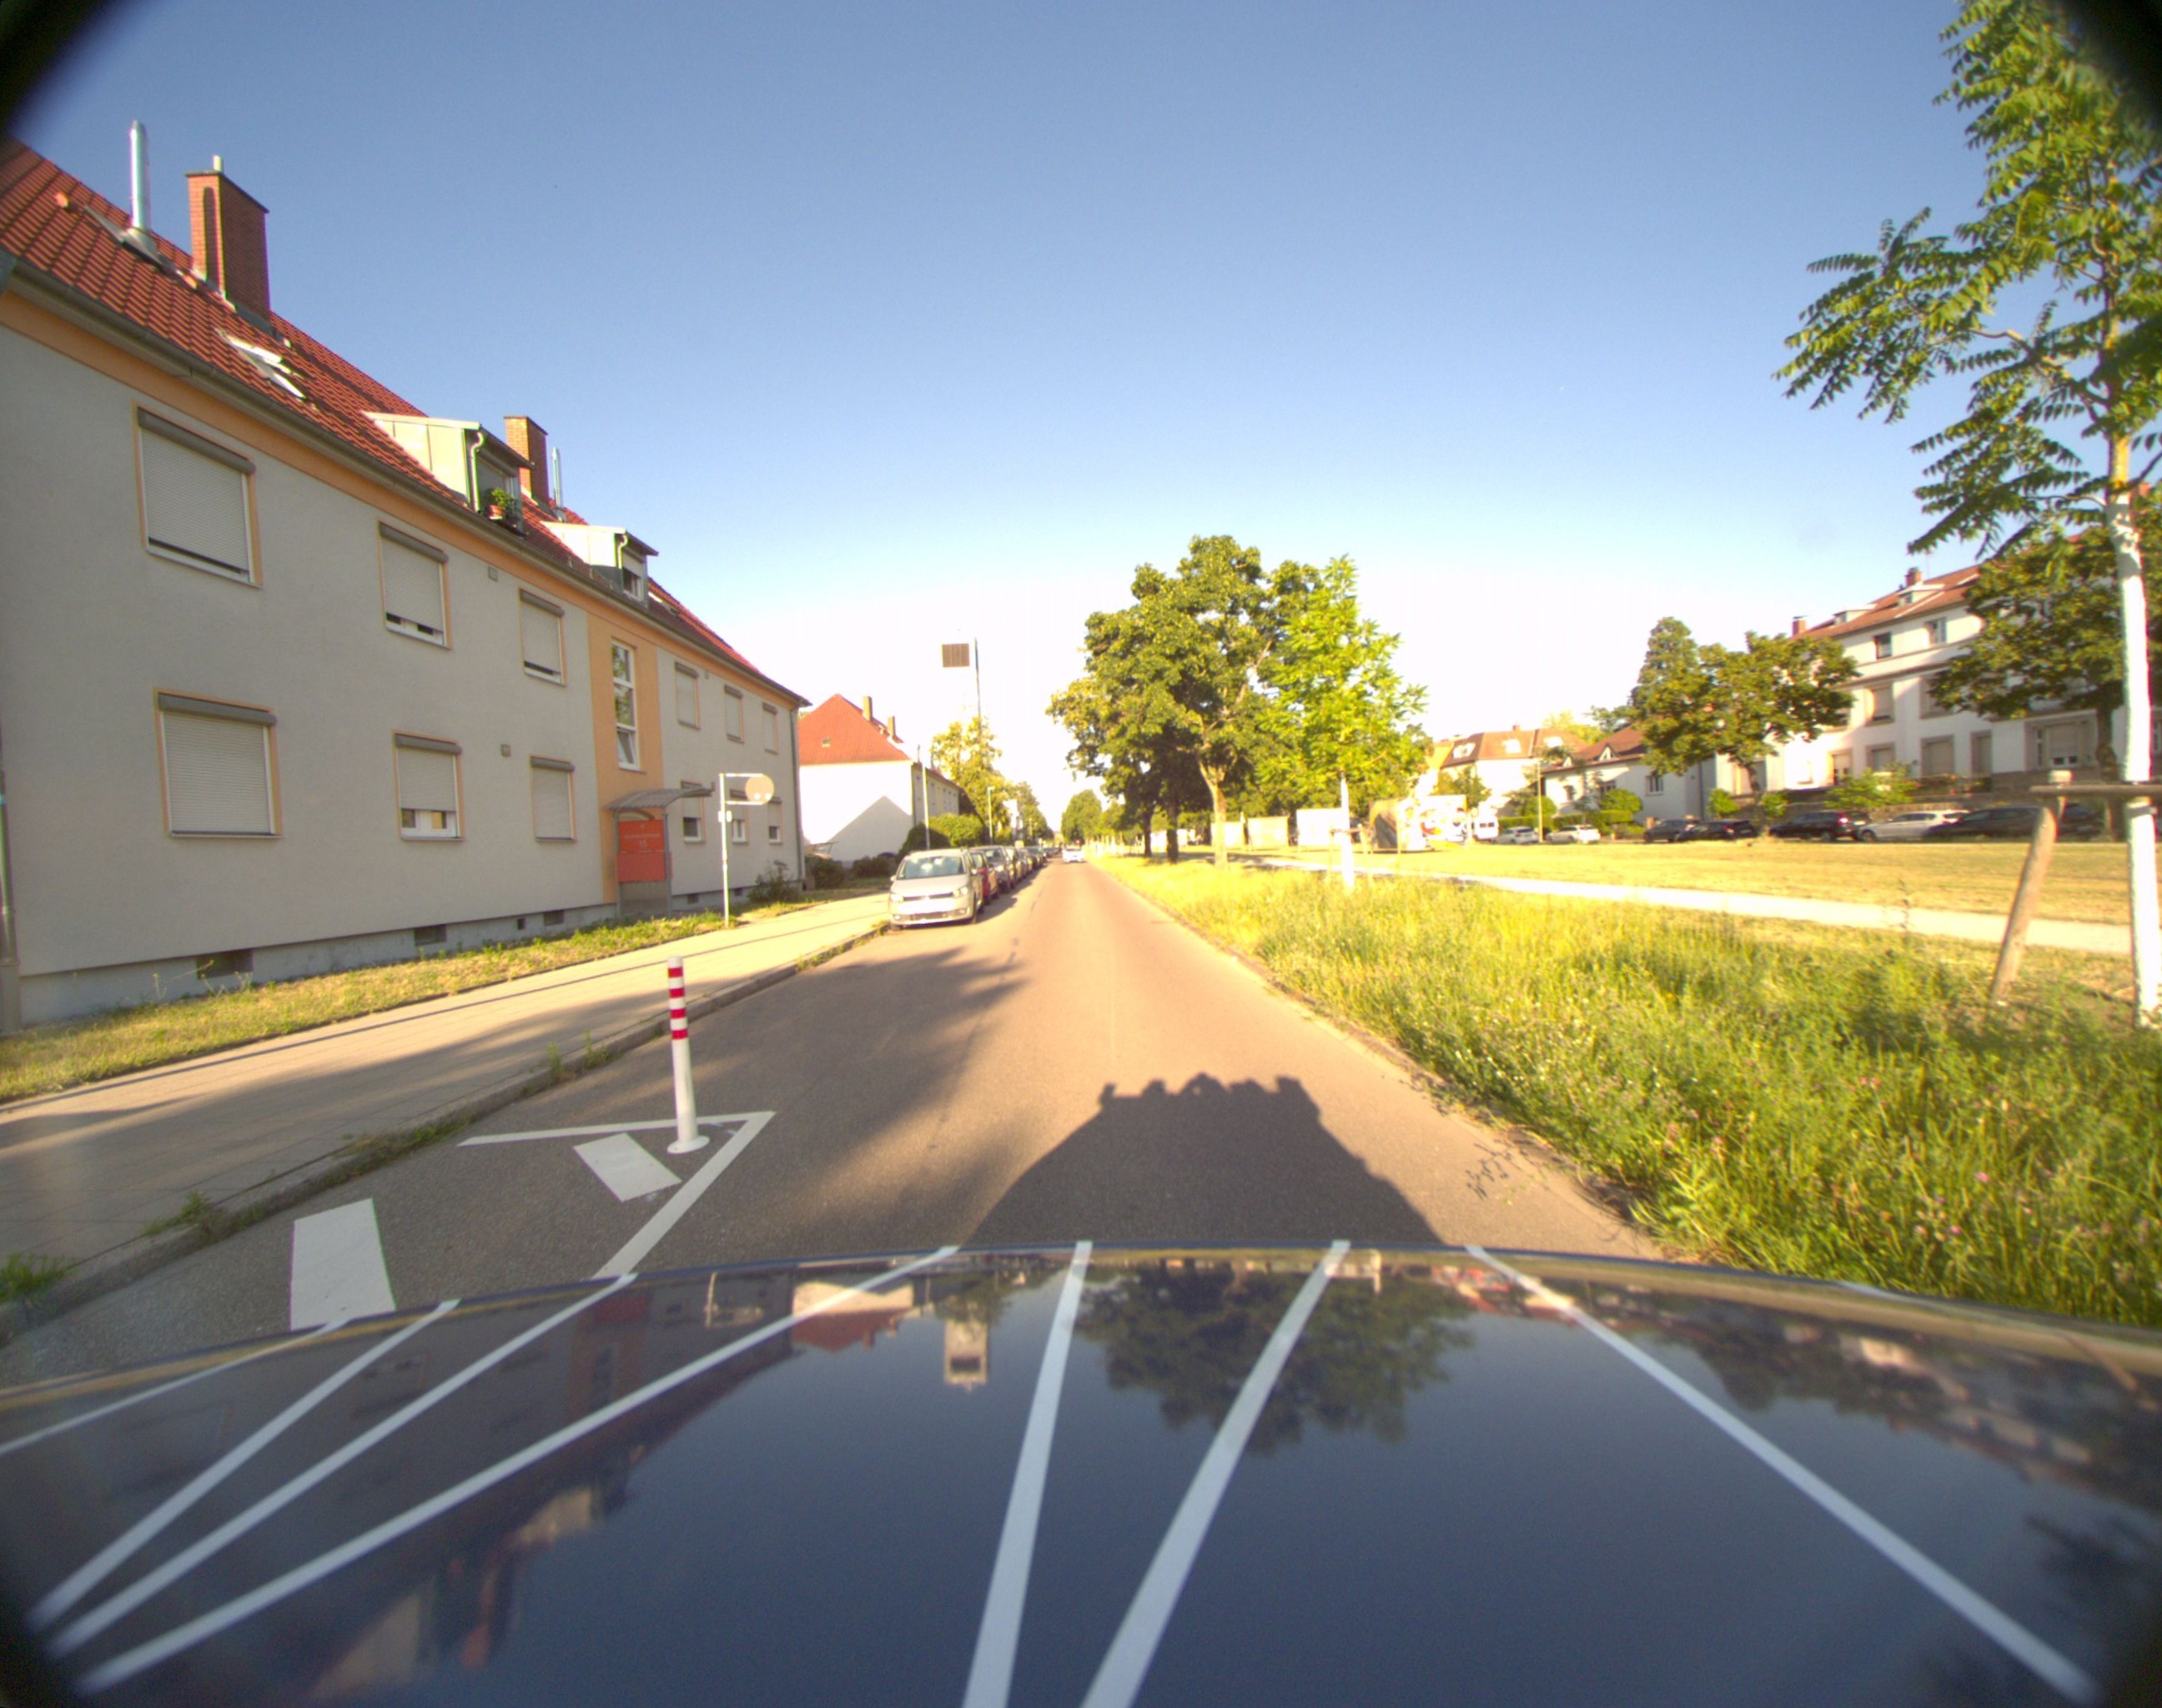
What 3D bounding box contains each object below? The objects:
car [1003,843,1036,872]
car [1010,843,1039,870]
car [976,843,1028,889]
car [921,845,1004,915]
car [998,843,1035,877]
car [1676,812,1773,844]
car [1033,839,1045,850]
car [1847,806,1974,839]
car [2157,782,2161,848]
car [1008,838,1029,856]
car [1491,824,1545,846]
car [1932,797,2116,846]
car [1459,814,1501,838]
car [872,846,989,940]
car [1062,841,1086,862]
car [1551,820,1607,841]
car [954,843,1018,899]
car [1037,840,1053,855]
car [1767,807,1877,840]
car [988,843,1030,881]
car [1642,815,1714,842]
[{"bbox_3d":[-3.937,0.177,49.189,1.850,1.686,3.998,-4,1,-3],"label":"car"},{"bbox_3d":[-3.973,0.157,53.951,1.850,1.686,3.998,-4,1,-3],"label":"car"},{"bbox_3d":[-3.269,0.435,32.102,1.850,1.686,3.998,-4,1,-3],"label":"car"},{"bbox_3d":[-3.316,0.666,22.028,1.850,1.686,3.998,-4,1,-3],"label":"car"},{"bbox_3d":[-3.675,0.302,43.855,1.850,1.686,3.998,-4,1,-3],"label":"car"},{"bbox_3d":[33.832,-1.343,40.103,1.825,1.571,3.835,-3,1,-1],"label":"car"},{"bbox_3d":[-6.892,-1.555,125.450,1.850,1.686,3.998,-4,1,-3],"label":"car"},{"bbox_3d":[39.622,-1.458,36.436,1.641,1.438,4.007,-2,1,-2],"label":"car"},{"bbox_3d":[34.105,-1.195,21.041,2.078,2.002,4.573,-2,1,-2],"label":"car"},{"bbox_3d":[-6.542,-0.741,79.828,1.850,1.686,3.998,-4,1,-3],"label":"car"},{"bbox_3d":[33.460,-1.466,58.288,1.825,1.571,3.835,-3,1,-1],"label":"car"},{"bbox_3d":[33.627,-1.119,27.271,1.825,1.571,3.835,-3,1,-1],"label":"car"},{"bbox_3d":[38.799,-2.691,73.936,1.998,2.201,4.130,-3,1,2],"label":"car"},{"bbox_3d":[-3.172,0.738,16.837,1.850,1.686,3.998,-4,1,-3],"label":"car"},{"bbox_3d":[-0.646,-0.227,68.557,1.870,1.686,4.298,-4,1,-3],"label":"car"},{"bbox_3d":[39.328,-1.827,60.111,1.825,1.571,3.966,-3,1,-1],"label":"car"},{"bbox_3d":[-3.285,0.532,27.056,1.850,1.686,3.998,-4,1,-3],"label":"car"},{"bbox_3d":[-4.712,-0.881,99.546,1.850,1.686,3.998,-4,1,-3],"label":"car"},{"bbox_3d":[39.577,-1.589,40.734,1.825,1.571,4.161,-3,1,-1],"label":"car"},{"bbox_3d":[-3.597,0.334,38.570,1.850,1.686,3.998,-4,1,-3],"label":"car"},{"bbox_3d":[39.168,-1.672,49.957,1.642,1.652,3.999,-2,1,1],"label":"car"}]
